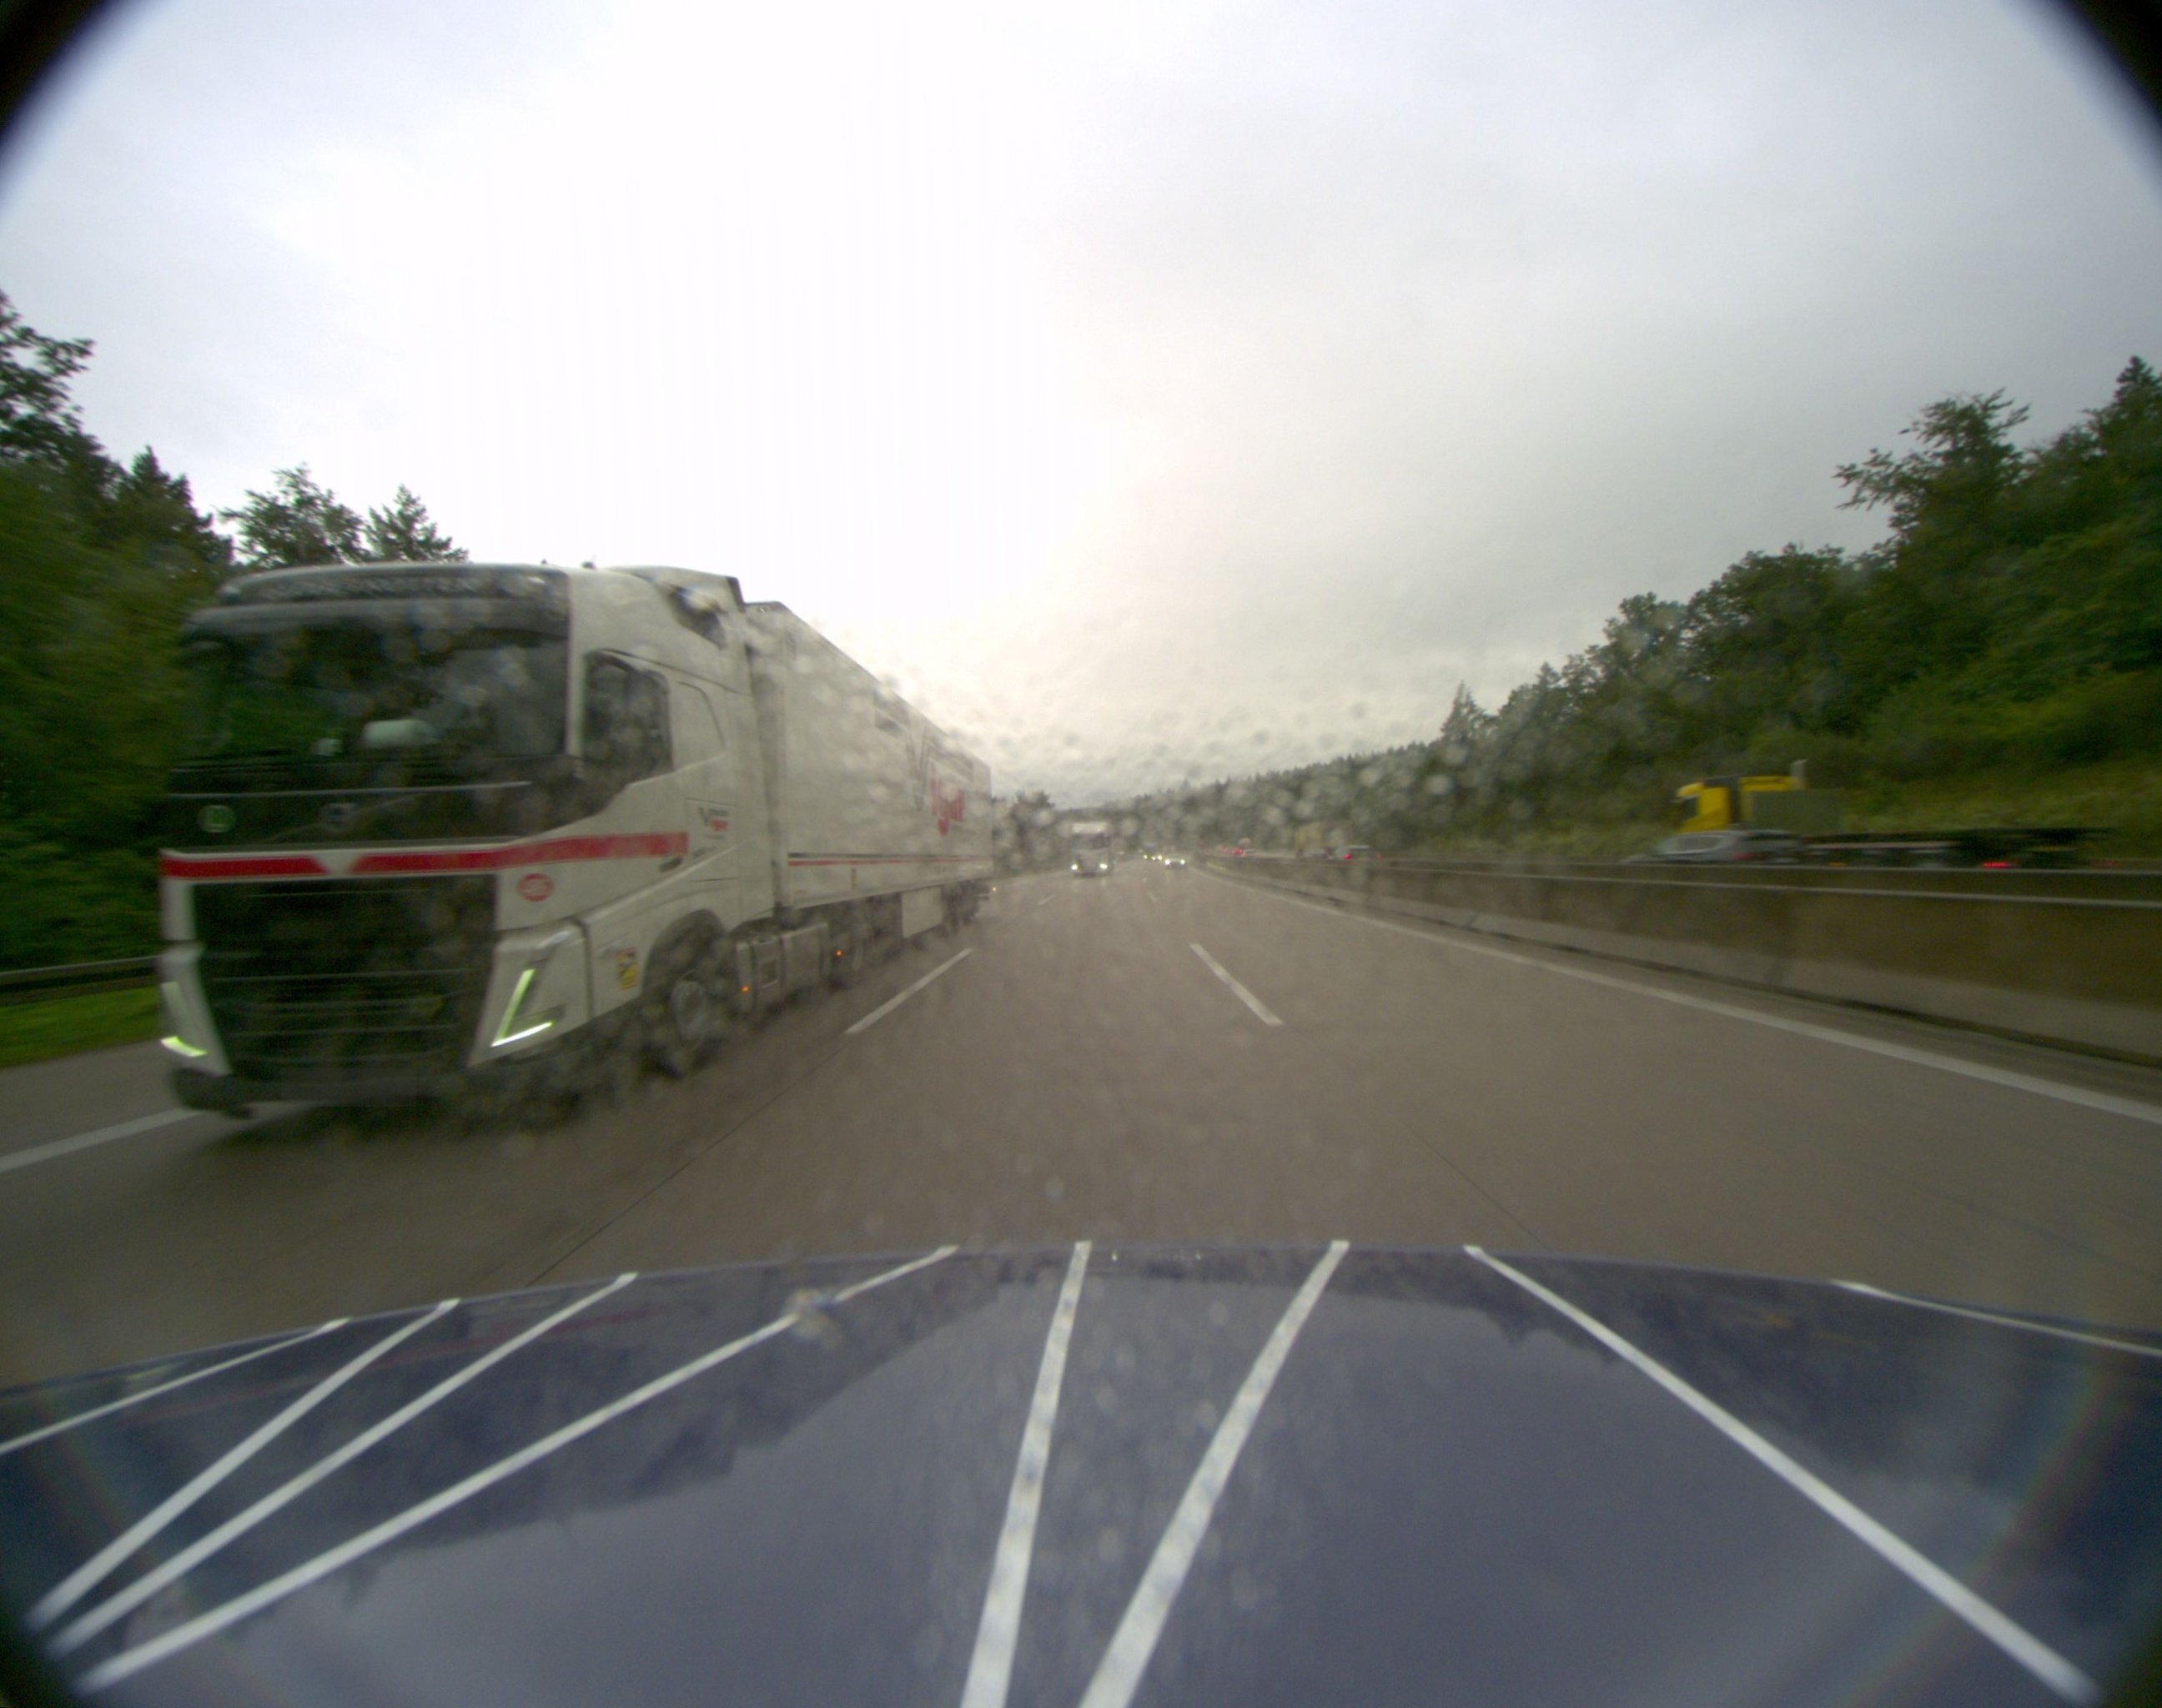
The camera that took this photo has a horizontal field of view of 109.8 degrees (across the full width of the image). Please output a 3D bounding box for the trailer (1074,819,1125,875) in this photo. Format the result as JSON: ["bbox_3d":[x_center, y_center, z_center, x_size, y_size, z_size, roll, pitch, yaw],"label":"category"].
[{"bbox_3d":[1.708,-0.522,61.352,2.684,4.017,13.711,0,0,7],"label":"trailer"}]

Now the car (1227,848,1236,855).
[{"bbox_3d":[34.954,-0.574,176.135,1.805,1.326,4.567,-3,0,8],"label":"car"}]

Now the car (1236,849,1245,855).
[{"bbox_3d":[32.804,-0.375,156.408,1.514,1.159,4.406,-3,0,8],"label":"car"}]

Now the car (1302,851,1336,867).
[{"bbox_3d":[19.238,0.403,61.604,1.657,1.191,4.546,-2,0,4],"label":"car"}]

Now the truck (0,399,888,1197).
[{"bbox_3d":[-4.150,-0.259,6.978,2.805,4.080,5.968,-2,0,3],"label":"truck"}]

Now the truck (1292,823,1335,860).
[{"bbox_3d":[26.148,-1.402,85.769,3.032,3.852,8.120,-2,0,6],"label":"truck"}]

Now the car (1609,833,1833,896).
[{"bbox_3d":[16.140,0.233,19.579,1.809,1.338,4.766,-2,0,2],"label":"car"}]

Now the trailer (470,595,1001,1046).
[{"bbox_3d":[-3.942,-0.311,13.882,2.741,4.080,13.684,-2,0,3],"label":"trailer"}]

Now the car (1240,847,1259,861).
[{"bbox_3d":[19.082,-0.063,86.192,1.657,1.470,4.547,-2,0,6],"label":"car"}]

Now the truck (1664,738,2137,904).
[{"bbox_3d":[20.256,-0.687,20.138,2.628,3.277,9.383,-2,0,2],"label":"truck"}]

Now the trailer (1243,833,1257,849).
[{"bbox_3d":[40.985,-3.099,184.581,2.551,3.645,8.234,-3,0,8],"label":"trailer"}]

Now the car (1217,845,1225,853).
[{"bbox_3d":[44.962,-1.752,244.440,1.997,2.435,6.749,-3,0,8],"label":"car"}]

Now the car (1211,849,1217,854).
[{"bbox_3d":[40.634,-0.811,232.419,1.662,1.363,4.761,-3,0,8],"label":"car"}]

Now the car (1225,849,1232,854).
[{"bbox_3d":[39.876,-0.754,205.245,1.662,1.363,4.723,-3,0,8],"label":"car"}]

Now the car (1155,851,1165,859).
[{"bbox_3d":[14.914,0.213,143.440,1.716,1.398,4.938,-2,0,6],"label":"car"}]

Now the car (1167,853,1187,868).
[{"bbox_3d":[9.471,0.623,75.011,1.716,1.398,4.937,-2,0,5],"label":"car"}]

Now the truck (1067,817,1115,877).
[{"bbox_3d":[0.812,-0.472,54.173,2.726,4.018,5.755,1,1,7],"label":"truck"}]

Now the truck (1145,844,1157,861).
[{"bbox_3d":[17.119,-0.337,187.035,2.736,4.127,8.625,-3,0,5],"label":"truck"}]

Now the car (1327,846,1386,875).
[{"bbox_3d":[14.408,0.319,39.942,1.657,1.338,4.086,-2,0,2],"label":"car"}]

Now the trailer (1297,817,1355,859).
[{"bbox_3d":[25.451,-1.593,79.770,3.020,3.852,13.706,-2,0,6],"label":"trailer"}]

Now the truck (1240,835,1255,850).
[{"bbox_3d":[41.897,-2.891,191.515,2.569,3.645,10.497,-3,0,7],"label":"truck"}]
